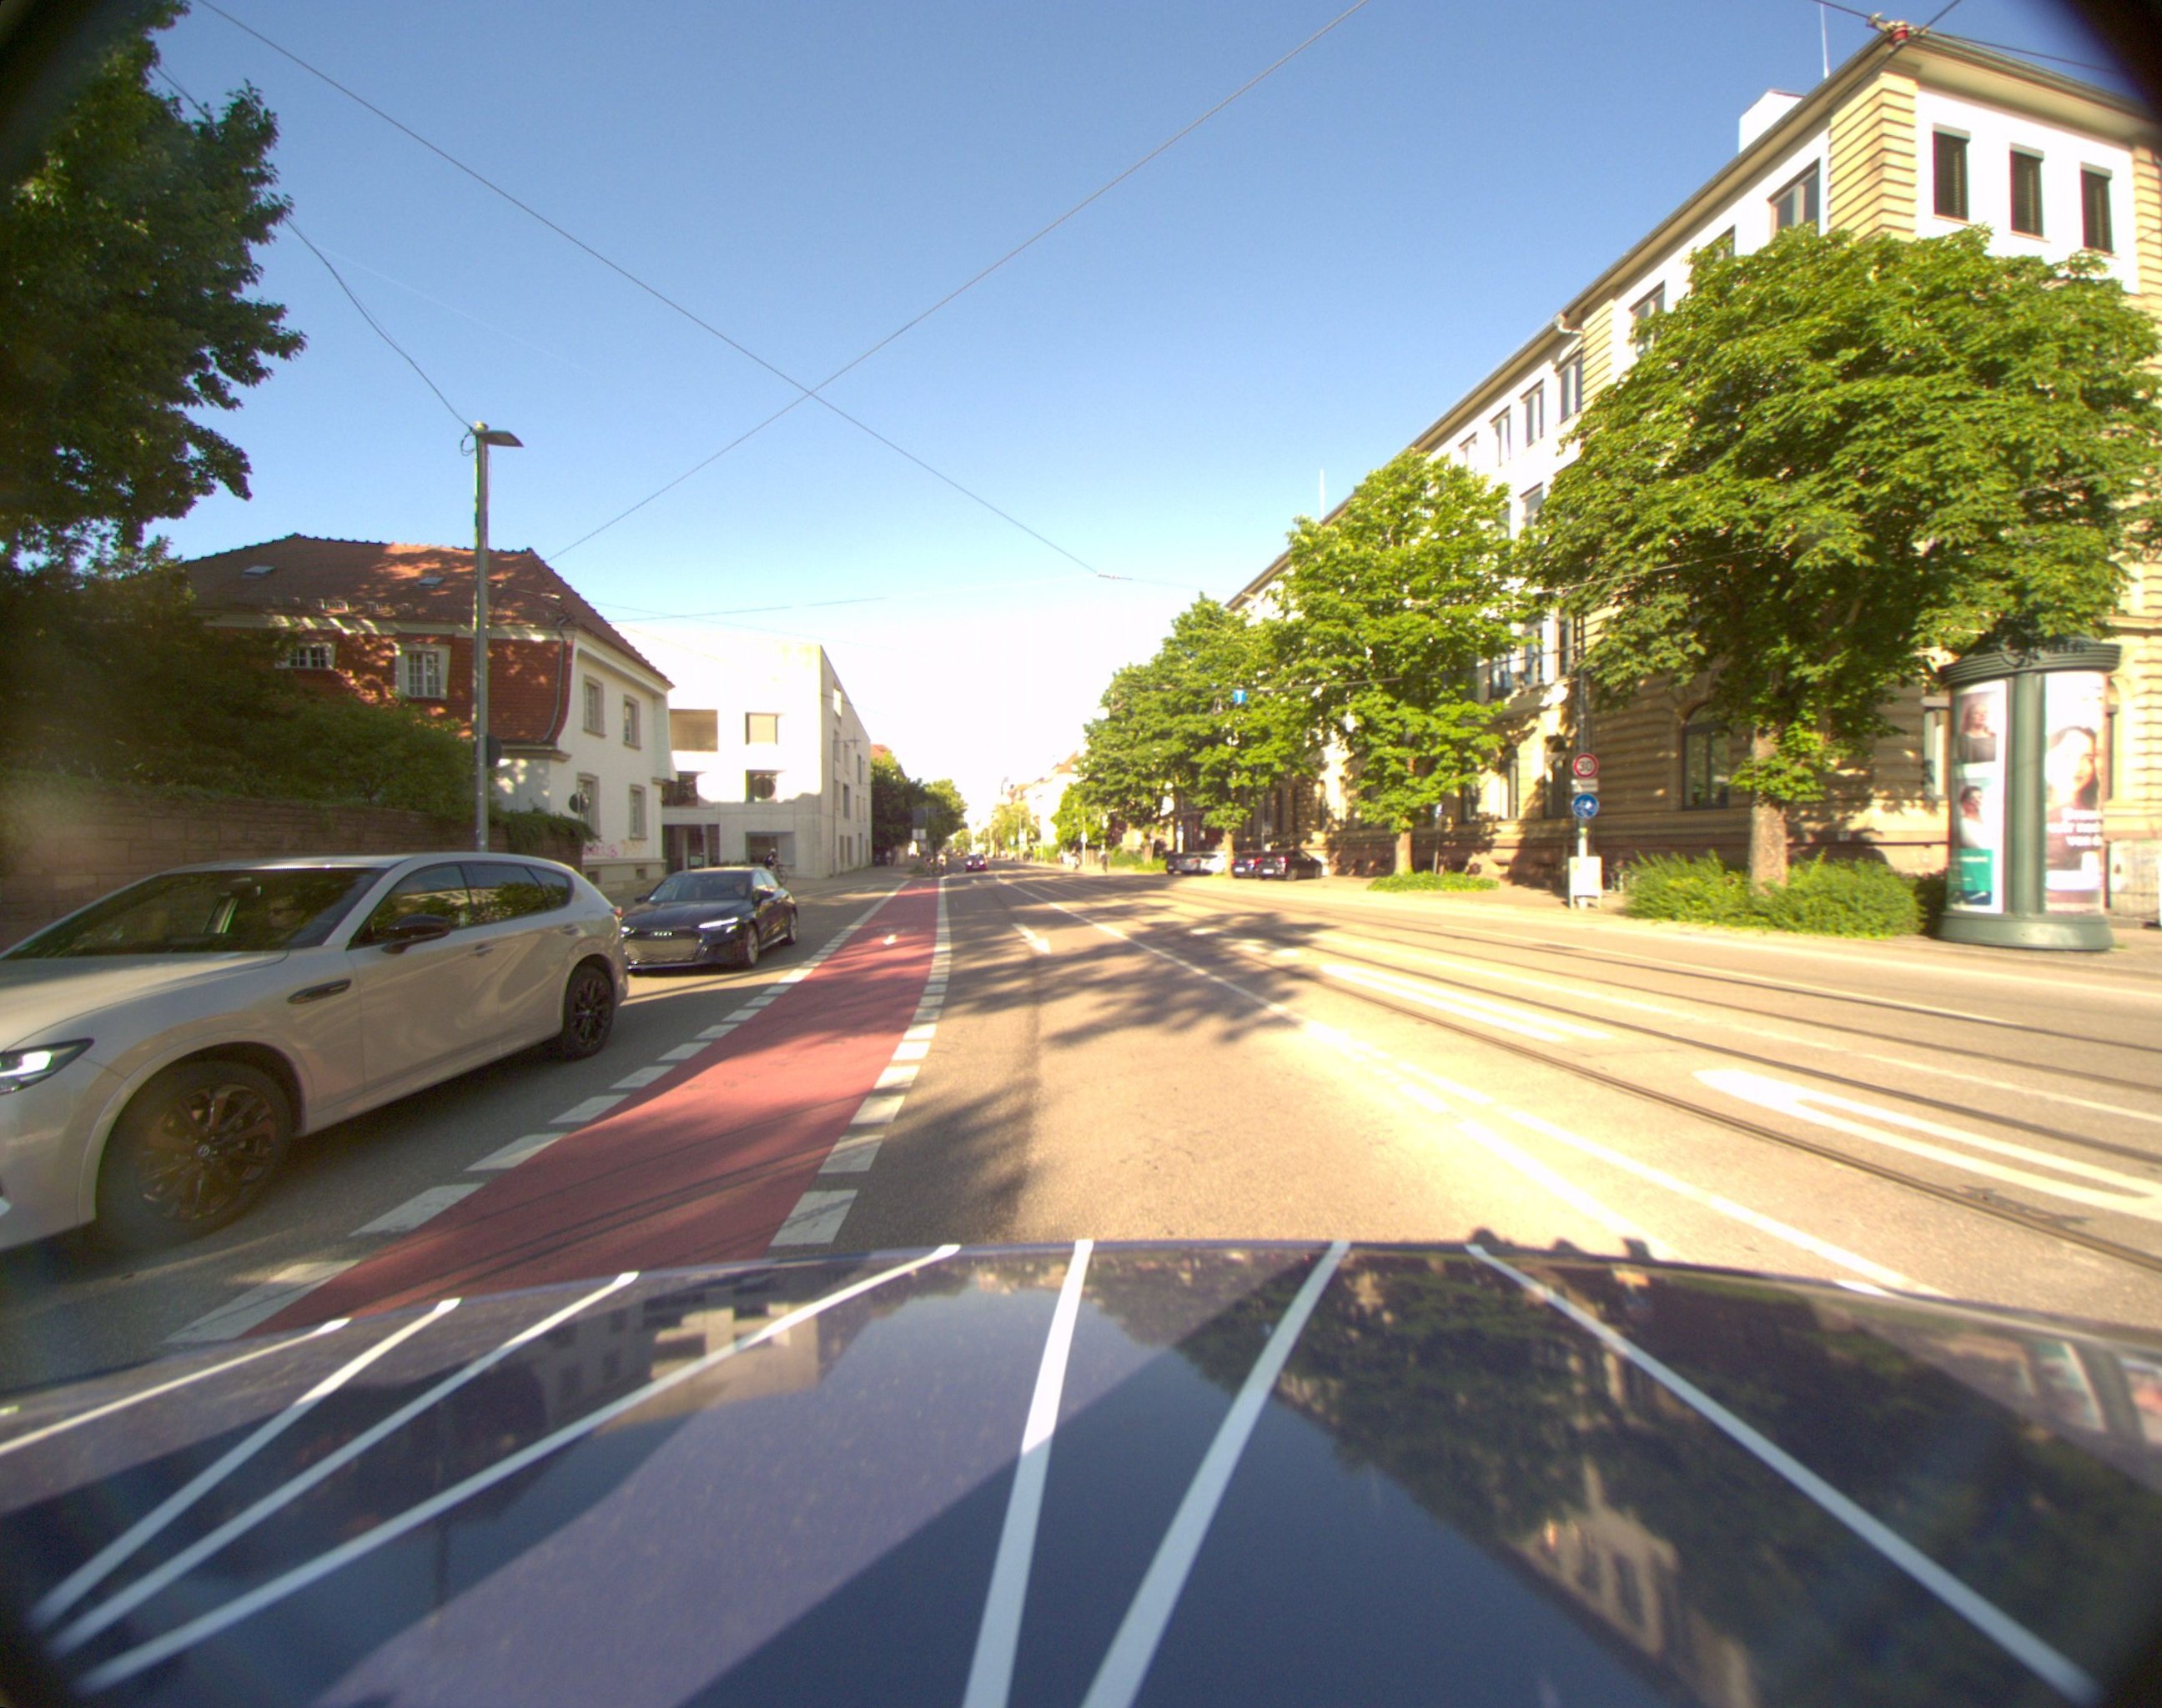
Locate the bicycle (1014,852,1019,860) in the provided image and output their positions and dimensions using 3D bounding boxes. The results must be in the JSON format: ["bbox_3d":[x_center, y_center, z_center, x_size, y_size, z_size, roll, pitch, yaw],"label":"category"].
[{"bbox_3d":[-10.413,0.387,122.554,0.676,1.243,2.456,-1,1,0],"label":"bicycle"}]

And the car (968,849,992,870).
[{"bbox_3d":[-8.108,0.392,61.007,1.649,1.552,3.648,-2,1,-5],"label":"car"}]

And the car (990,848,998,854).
[{"bbox_3d":[-22.849,-0.780,199.977,1.650,1.552,3.646,-2,1,-12],"label":"car"}]

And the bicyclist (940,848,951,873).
[{"bbox_3d":[-9.223,0.429,51.832,0.676,1.638,1.028,0,1,-8],"label":"bicyclist"}]

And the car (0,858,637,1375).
[{"bbox_3d":[-4.805,0.935,4.472,1.946,1.682,4.529,-2,1,-5],"label":"car"}]

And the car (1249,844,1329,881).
[{"bbox_3d":[10.384,0.403,37.753,4.189,1.621,1.841,-3,1,-43],"label":"car"}]

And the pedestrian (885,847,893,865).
[{"bbox_3d":[-18.202,0.178,72.044,0.676,1.638,0.817,-1,1,-9],"label":"pedestrian"}]

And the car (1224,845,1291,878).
[{"bbox_3d":[9.420,0.386,40.413,3.657,1.552,1.645,-3,1,-43],"label":"car"}]

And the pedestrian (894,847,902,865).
[{"bbox_3d":[-17.409,0.169,72.389,0.676,1.638,0.817,-1,1,-9],"label":"pedestrian"}]

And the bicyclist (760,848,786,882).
[{"bbox_3d":[-15.079,0.512,37.211,0.674,1.638,1.030,0,1,13],"label":"bicyclist"}]

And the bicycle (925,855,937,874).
[{"bbox_3d":[-10.498,0.719,53.244,0.676,1.243,2.454,0,1,-8],"label":"bicycle"}]

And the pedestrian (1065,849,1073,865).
[{"bbox_3d":[-1.252,0.301,80.635,0.676,1.638,0.817,-1,1,-9],"label":"pedestrian"}]

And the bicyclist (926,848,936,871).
[{"bbox_3d":[-10.482,0.378,53.134,0.676,1.638,1.028,0,1,-8],"label":"bicyclist"}]

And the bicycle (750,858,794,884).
[{"bbox_3d":[-15.087,0.809,37.198,0.675,1.243,2.459,0,1,13],"label":"bicycle"}]

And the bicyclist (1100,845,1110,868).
[{"bbox_3d":[1.759,0.202,54.988,0.675,1.638,1.029,0,1,5],"label":"bicyclist"}]

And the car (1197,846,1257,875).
[{"bbox_3d":[8.891,0.384,46.129,3.657,1.552,1.645,-3,1,-43],"label":"car"}]

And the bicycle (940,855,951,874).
[{"bbox_3d":[-9.226,0.722,51.862,0.676,1.243,2.454,0,1,-8],"label":"bicycle"}]

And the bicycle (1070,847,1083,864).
[{"bbox_3d":[-0.344,0.124,57.456,0.675,1.243,2.457,0,1,6],"label":"bicycle"}]

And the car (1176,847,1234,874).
[{"bbox_3d":[7.912,0.384,48.359,3.657,1.552,1.645,-3,1,-43],"label":"car"}]

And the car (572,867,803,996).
[{"bbox_3d":[-5.620,0.995,11.480,1.789,1.425,3.997,-2,1,-8],"label":"car"}]

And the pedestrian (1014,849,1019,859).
[{"bbox_3d":[-10.421,-0.057,122.556,0.675,1.638,0.817,-1,1,0],"label":"pedestrian"}]

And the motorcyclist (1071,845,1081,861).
[{"bbox_3d":[-0.346,-0.079,57.409,0.675,1.243,0.854,0,1,5],"label":"motorcyclist"}]

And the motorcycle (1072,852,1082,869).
[{"bbox_3d":[-0.316,0.479,57.317,0.680,1.285,2.265,-2,1,1],"label":"motorcycle"}]

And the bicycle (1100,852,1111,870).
[{"bbox_3d":[1.752,0.519,54.891,0.675,1.243,2.457,0,1,5],"label":"bicycle"}]

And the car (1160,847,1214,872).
[{"bbox_3d":[7.236,0.355,51.770,3.657,1.552,1.645,-3,1,-43],"label":"car"}]
